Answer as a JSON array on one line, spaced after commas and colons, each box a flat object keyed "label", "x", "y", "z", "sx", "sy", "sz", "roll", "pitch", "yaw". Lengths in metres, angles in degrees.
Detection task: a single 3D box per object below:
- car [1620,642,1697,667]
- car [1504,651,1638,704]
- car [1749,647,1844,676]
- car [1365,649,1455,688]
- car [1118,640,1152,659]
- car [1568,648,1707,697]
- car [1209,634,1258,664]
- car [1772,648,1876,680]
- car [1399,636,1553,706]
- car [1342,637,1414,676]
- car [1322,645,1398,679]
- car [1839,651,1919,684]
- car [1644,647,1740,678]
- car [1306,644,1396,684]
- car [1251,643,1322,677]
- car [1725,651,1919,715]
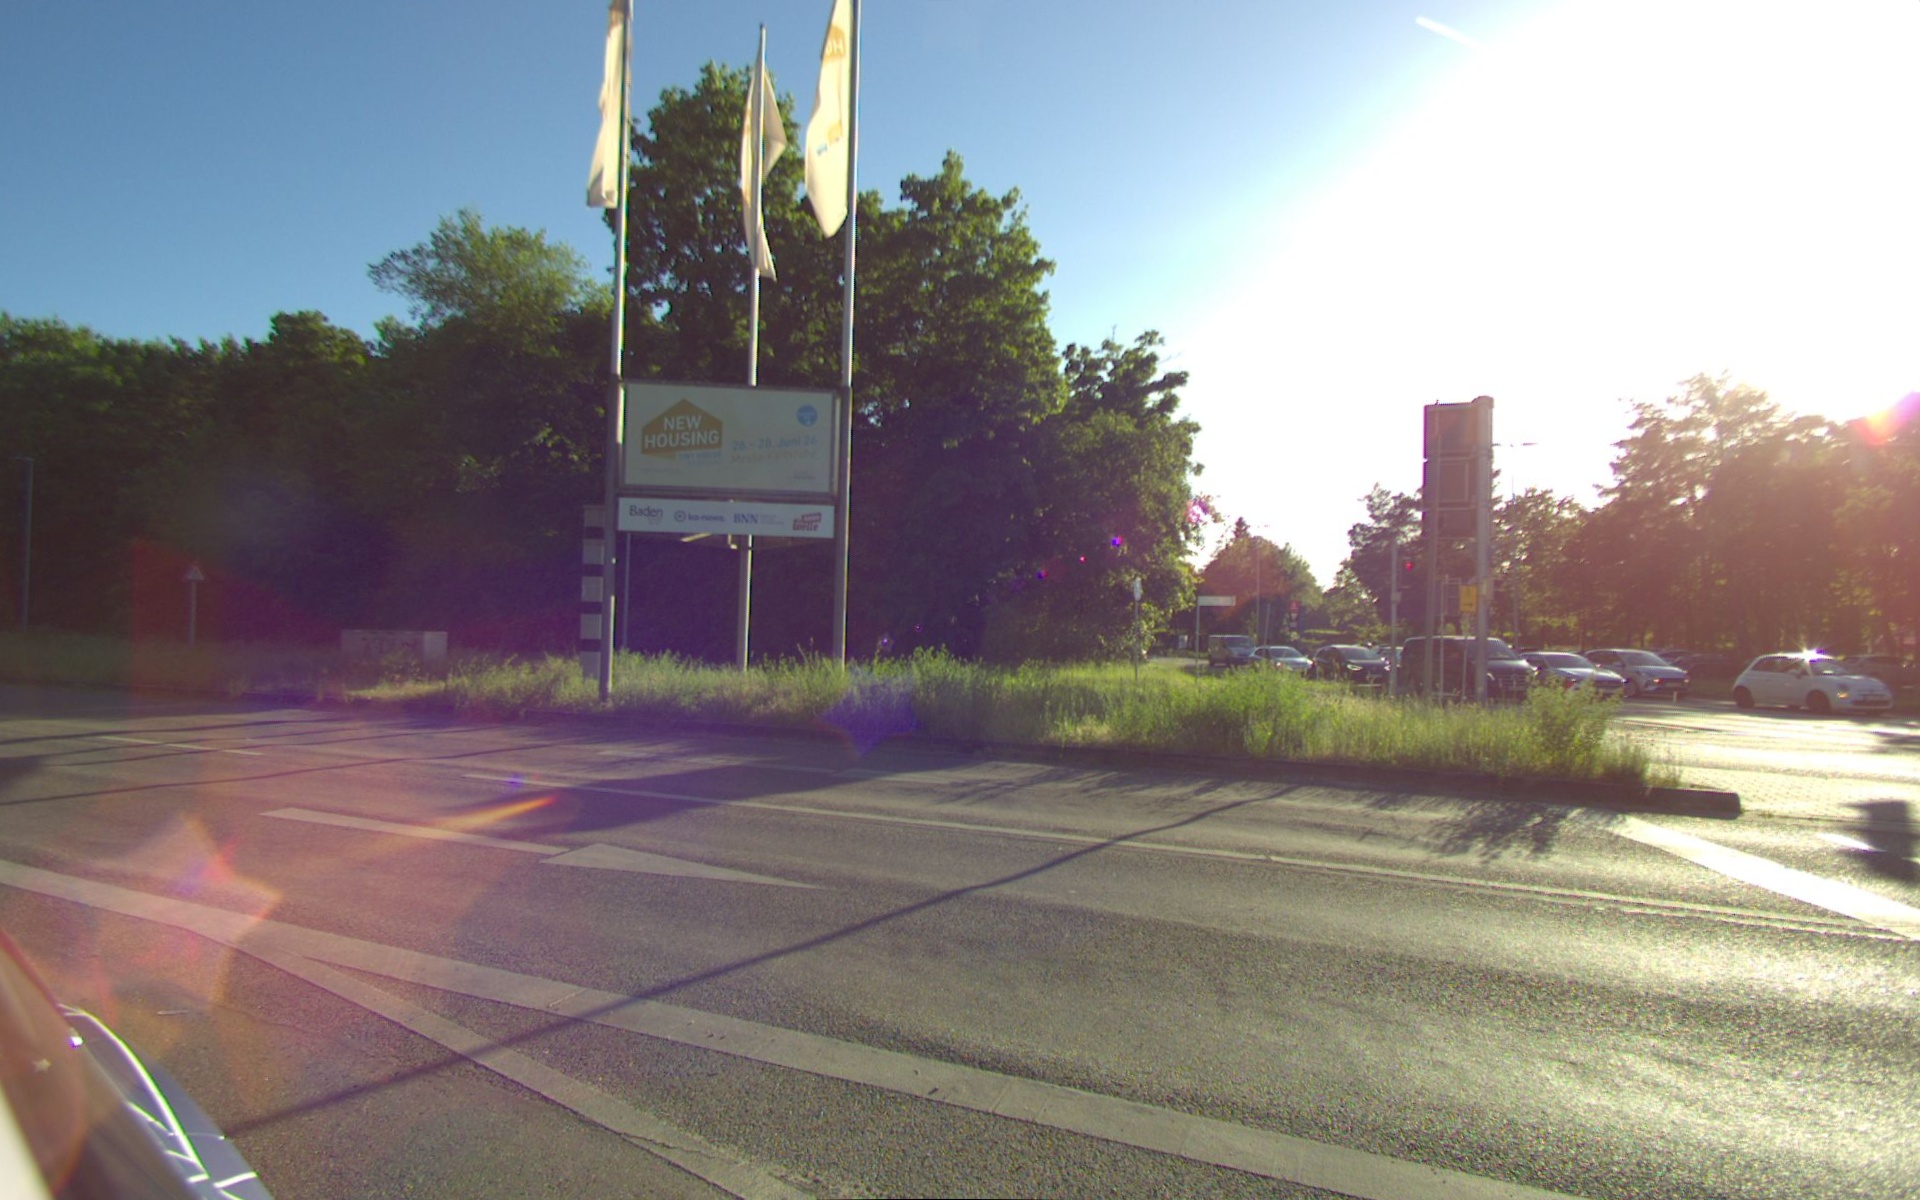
[{"label": "car", "x": 47.754, "y": 3.696, "z": 69.262, "sx": 3.929, "sy": 1.612, "sz": 1.807, "roll": 1, "pitch": -2, "yaw": 12}, {"label": "car", "x": 18.156, "y": 2.260, "z": 30.286, "sx": 1.624, "sy": 1.400, "sz": 3.800, "roll": 1, "pitch": -2, "yaw": -1}, {"label": "car", "x": 49.723, "y": 3.655, "z": 60.214, "sx": 3.929, "sy": 1.612, "sz": 1.807, "roll": 1, "pitch": -2, "yaw": 12}, {"label": "car", "x": 17.854, "y": 2.699, "z": 40.341, "sx": 1.827, "sy": 1.400, "sz": 3.800, "roll": 1, "pitch": -2, "yaw": -1}, {"label": "car", "x": 13.424, "y": 3.805, "z": 77.804, "sx": 1.827, "sy": 1.400, "sz": 3.800, "roll": 1, "pitch": -2, "yaw": -1}, {"label": "car", "x": 21.690, "y": 2.275, "z": 32.598, "sx": 1.827, "sy": 1.400, "sz": 3.800, "roll": 1, "pitch": -2, "yaw": -1}, {"label": "car", "x": 16.838, "y": 2.980, "z": 62.478, "sx": 1.827, "sy": 1.772, "sz": 3.800, "roll": 1, "pitch": -2, "yaw": -1}, {"label": "car", "x": 47.594, "y": 3.497, "z": 55.847, "sx": 3.929, "sy": 1.612, "sz": 1.807, "roll": 1, "pitch": -2, "yaw": 12}, {"label": "car", "x": 15.046, "y": 2.004, "z": 29.889, "sx": 1.901, "sy": 1.844, "sz": 4.935, "roll": 1, "pitch": -2, "yaw": -2}, {"label": "car", "x": 20.215, "y": 2.683, "z": 49.063, "sx": 1.827, "sy": 1.772, "sz": 3.800, "roll": 1, "pitch": -2, "yaw": -1}, {"label": "car", "x": 17.862, "y": 2.751, "z": 45.383, "sx": 1.827, "sy": 1.400, "sz": 3.800, "roll": 1, "pitch": -2, "yaw": -1}, {"label": "car", "x": 48.355, "y": 3.469, "z": 52.229, "sx": 4.107, "sy": 1.612, "sz": 1.807, "roll": 1, "pitch": -2, "yaw": 12}, {"label": "car", "x": 41.592, "y": 3.514, "z": 57.600, "sx": 3.953, "sy": 1.631, "sz": 1.938, "roll": 1, "pitch": -2, "yaw": 8}, {"label": "car", "x": 14.784, "y": 2.396, "z": 38.486, "sx": 1.827, "sy": 1.400, "sz": 3.800, "roll": 1, "pitch": -2, "yaw": -1}, {"label": "car", "x": 14.342, "y": 2.618, "z": 44.671, "sx": 1.827, "sy": 1.400, "sz": 3.800, "roll": 1, "pitch": -2, "yaw": -1}, {"label": "car", "x": 21.878, "y": 2.048, "z": 25.728, "sx": 1.901, "sy": 1.400, "sz": 3.800, "roll": 1, "pitch": -2, "yaw": -1}]
